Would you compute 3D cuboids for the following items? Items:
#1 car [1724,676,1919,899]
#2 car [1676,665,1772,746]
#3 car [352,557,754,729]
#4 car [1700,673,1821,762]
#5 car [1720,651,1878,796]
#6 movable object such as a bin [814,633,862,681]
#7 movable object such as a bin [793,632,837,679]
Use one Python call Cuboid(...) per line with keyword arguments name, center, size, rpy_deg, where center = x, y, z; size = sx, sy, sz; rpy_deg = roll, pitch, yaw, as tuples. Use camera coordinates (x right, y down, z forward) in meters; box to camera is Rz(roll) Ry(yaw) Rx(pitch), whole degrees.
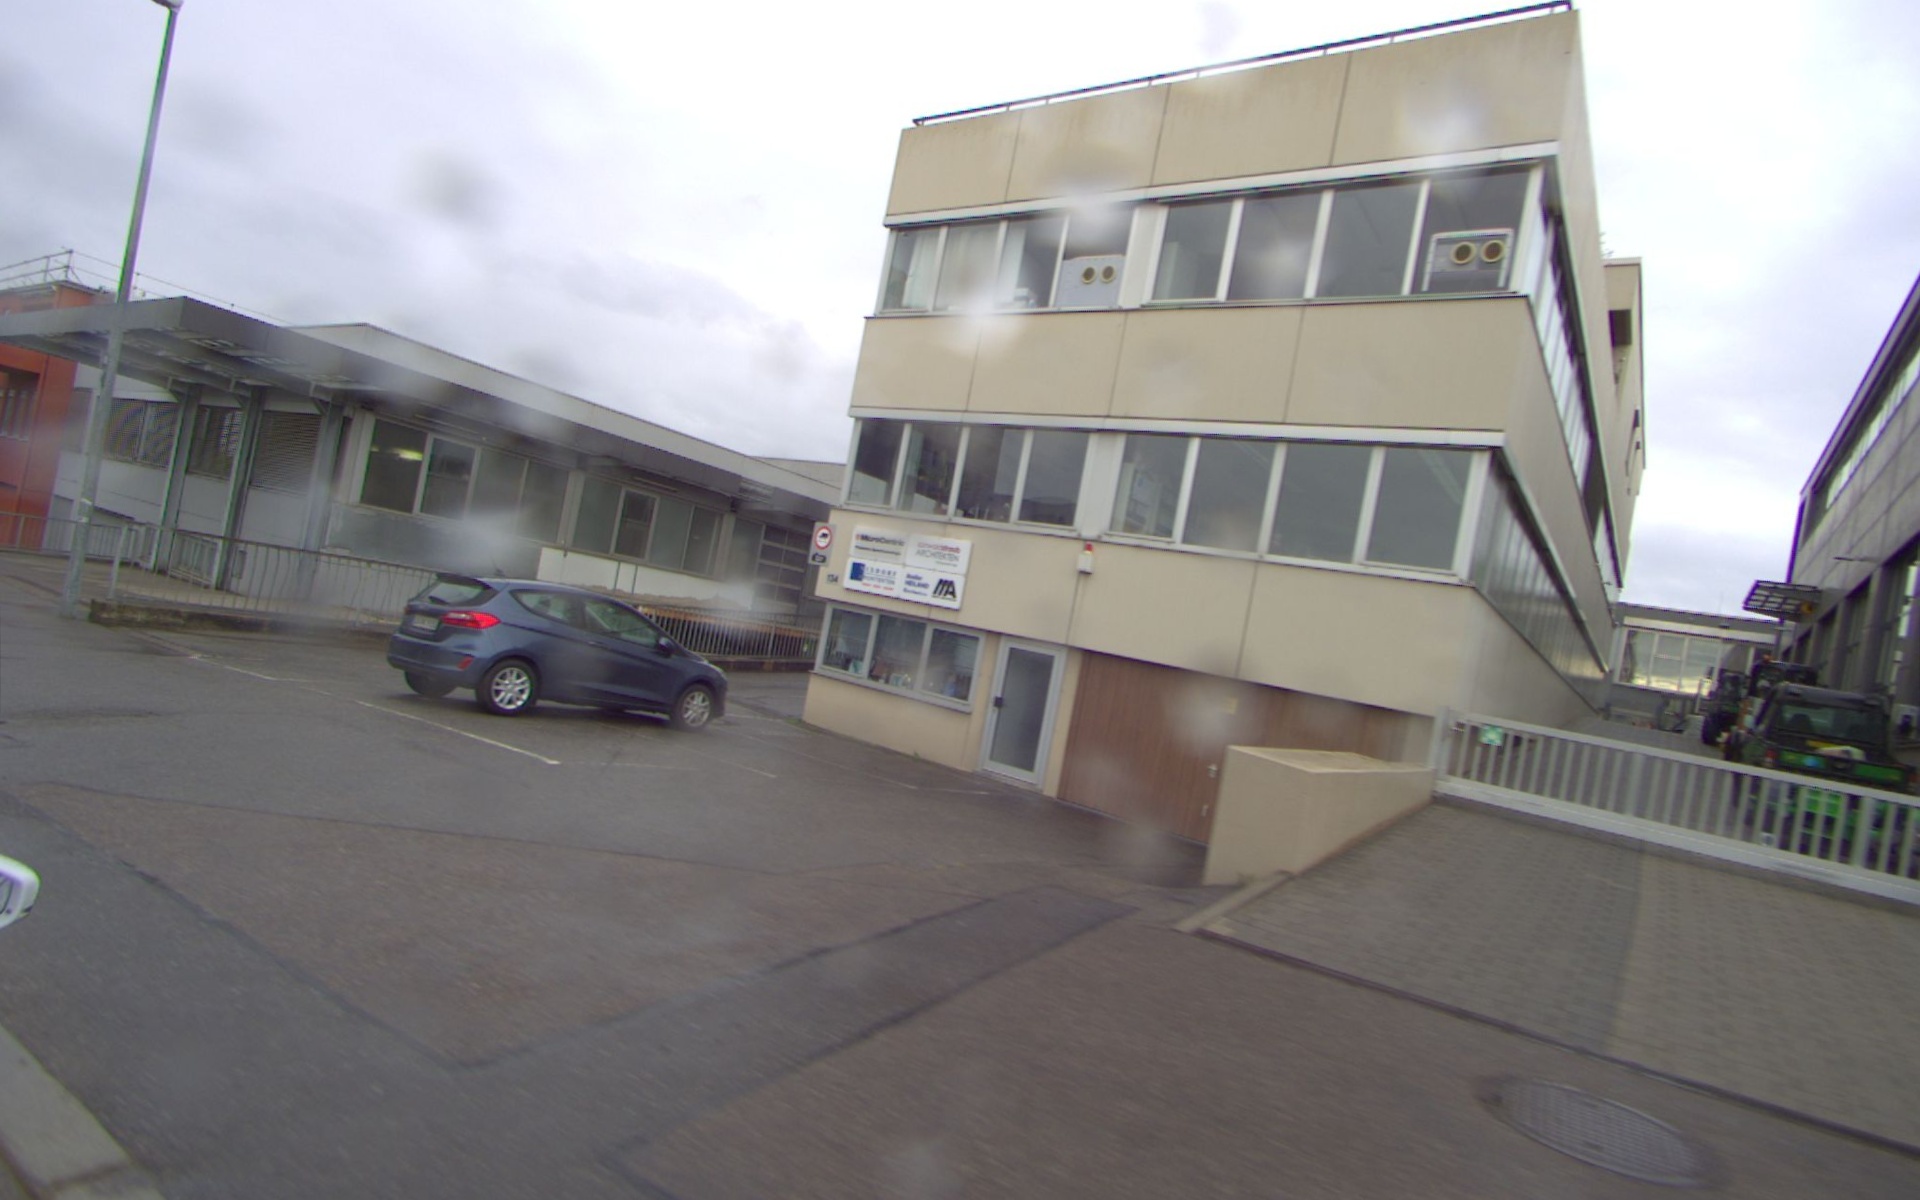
Cuboid(name="car", center=(10.766, 2.090, 12.189), size=(1.868, 1.876, 4.889), rpy_deg=(11, 4, 34))
Cuboid(name="car", center=(25.807, 3.484, 34.136), size=(2.127, 2.284, 5.091), rpy_deg=(6, 1, 34))
Cuboid(name="car", center=(-4.540, 0.598, 11.779), size=(1.792, 1.397, 3.905), rpy_deg=(6, -5, 34))
Cuboid(name="car", center=(20.595, 2.940, 26.050), size=(1.968, 1.778, 3.986), rpy_deg=(7, 2, 34))
Cuboid(name="car", center=(16.978, 2.337, 20.440), size=(1.967, 2.284, 6.770), rpy_deg=(6, 1, 40))
Cuboid(name="movable object such as a bin", center=(-3.872, 1.815, 31.935), size=(1.018, 1.337, 0.874), rpy_deg=(7, -2, 40))
Cuboid(name="movable object such as a bin", center=(-4.492, 1.726, 31.186), size=(0.673, 1.278, 0.995), rpy_deg=(7, -2, 37))
